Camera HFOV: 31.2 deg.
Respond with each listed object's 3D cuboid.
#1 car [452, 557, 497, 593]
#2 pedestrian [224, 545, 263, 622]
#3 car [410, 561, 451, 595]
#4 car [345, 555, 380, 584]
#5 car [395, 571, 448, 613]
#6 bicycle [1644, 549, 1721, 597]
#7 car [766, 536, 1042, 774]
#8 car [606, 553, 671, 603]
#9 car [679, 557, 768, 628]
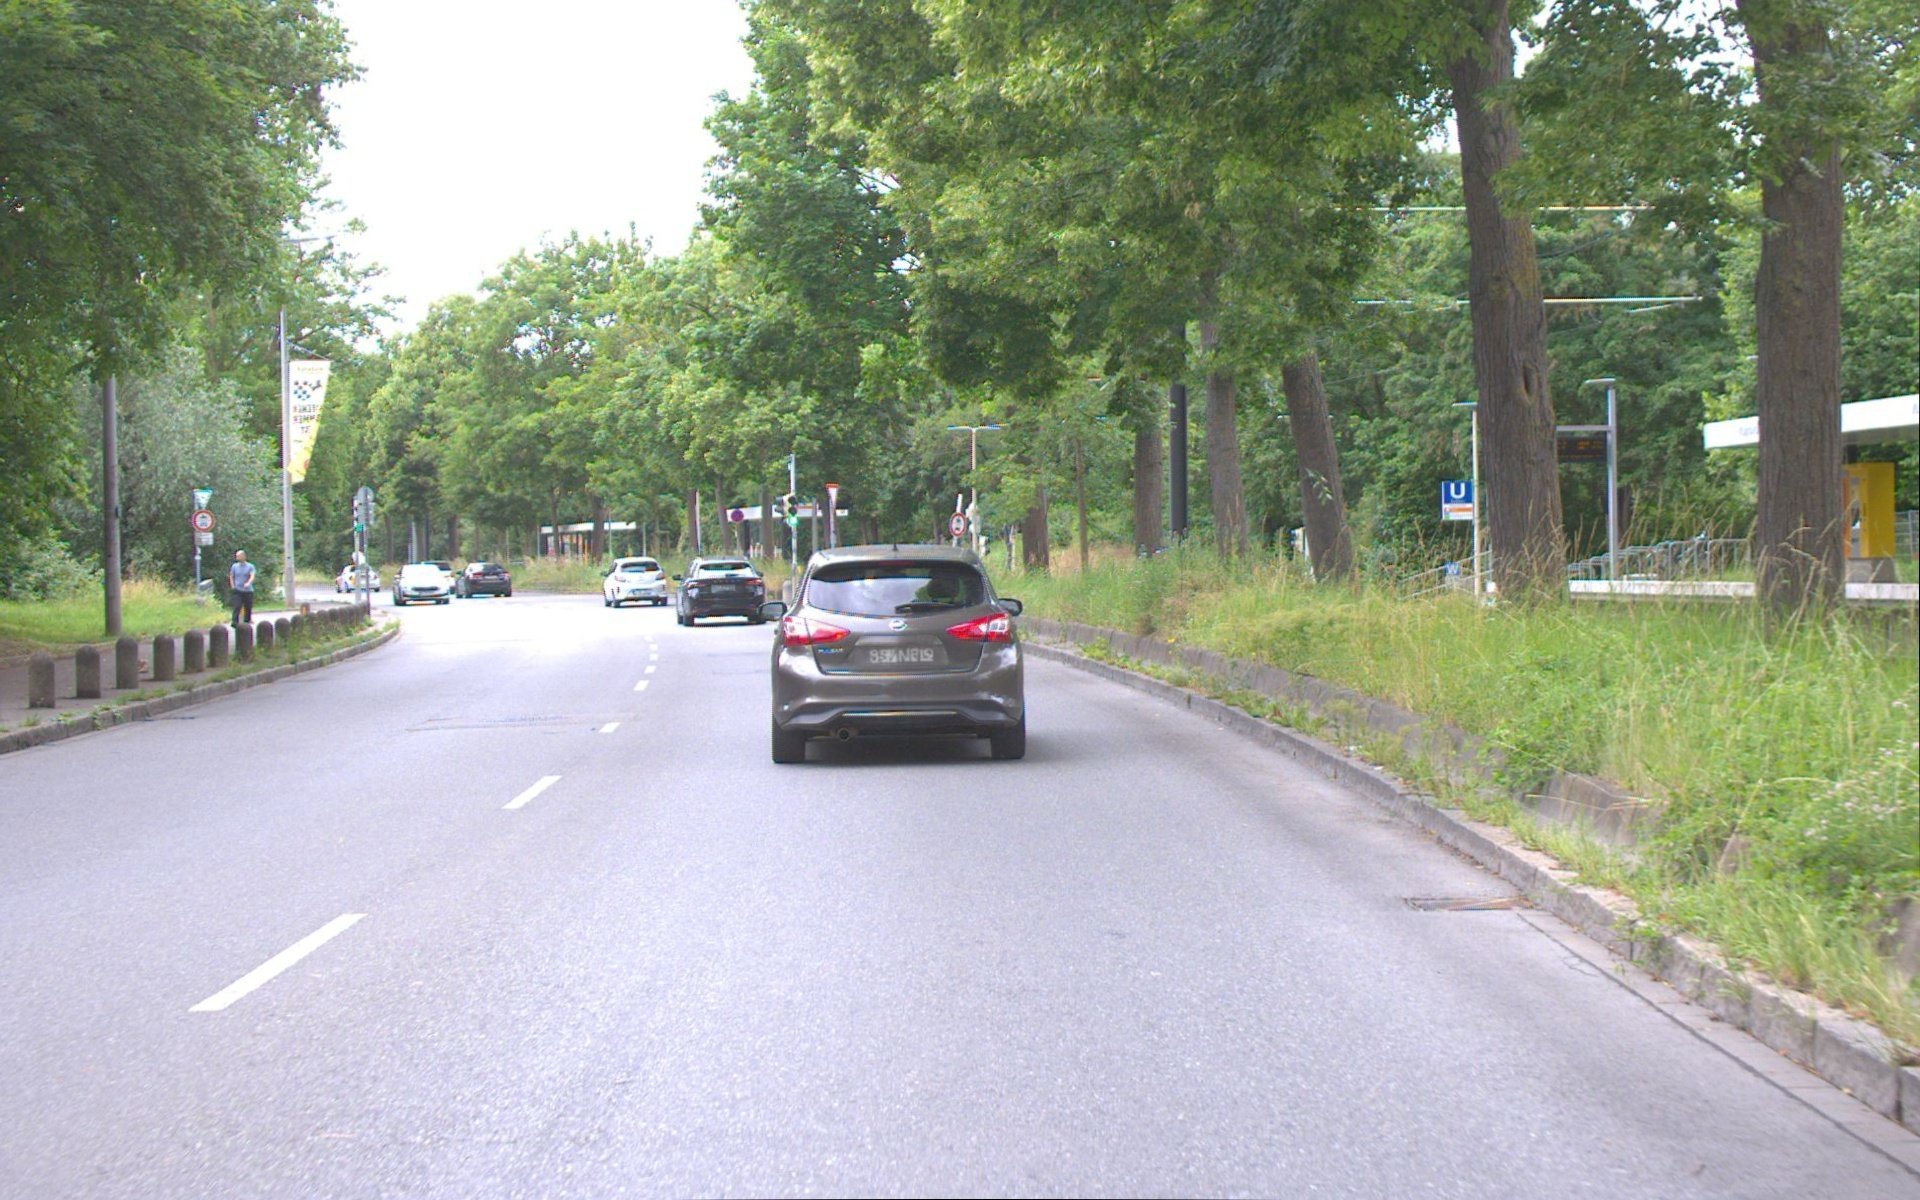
[{"bbox_3d":[-19.901,-1.032,140.809,1.775,1.467,4.001,1,1,-8],"label":"car"},{"bbox_3d":[-15.198,-0.351,72.939,0.689,1.628,0.838,1,0,-6],"label":"pedestrian"},{"bbox_3d":[-24.152,-1.022,156.898,1.775,1.467,4.001,0,1,-8],"label":"car"},{"bbox_3d":[-31.074,-1.604,178.772,1.775,1.467,4.001,1,1,-10],"label":"car"},{"bbox_3d":[-19.824,-0.321,126.644,1.773,1.434,4.362,-2,1,-7],"label":"car"},{"bbox_3d":[15.151,-0.569,72.061,1.508,0.970,0.450,1,0,-8],"label":"bicycle"},{"bbox_3d":[-0.421,0.334,25.167,1.816,1.503,4.001,-2,2,-1],"label":"car"},{"bbox_3d":[-9.717,-0.682,103.744,1.775,1.467,4.001,1,1,-7],"label":"car"},{"bbox_3d":[-5.027,-0.175,73.569,1.776,1.467,4.000,1,1,-2],"label":"car"}]
